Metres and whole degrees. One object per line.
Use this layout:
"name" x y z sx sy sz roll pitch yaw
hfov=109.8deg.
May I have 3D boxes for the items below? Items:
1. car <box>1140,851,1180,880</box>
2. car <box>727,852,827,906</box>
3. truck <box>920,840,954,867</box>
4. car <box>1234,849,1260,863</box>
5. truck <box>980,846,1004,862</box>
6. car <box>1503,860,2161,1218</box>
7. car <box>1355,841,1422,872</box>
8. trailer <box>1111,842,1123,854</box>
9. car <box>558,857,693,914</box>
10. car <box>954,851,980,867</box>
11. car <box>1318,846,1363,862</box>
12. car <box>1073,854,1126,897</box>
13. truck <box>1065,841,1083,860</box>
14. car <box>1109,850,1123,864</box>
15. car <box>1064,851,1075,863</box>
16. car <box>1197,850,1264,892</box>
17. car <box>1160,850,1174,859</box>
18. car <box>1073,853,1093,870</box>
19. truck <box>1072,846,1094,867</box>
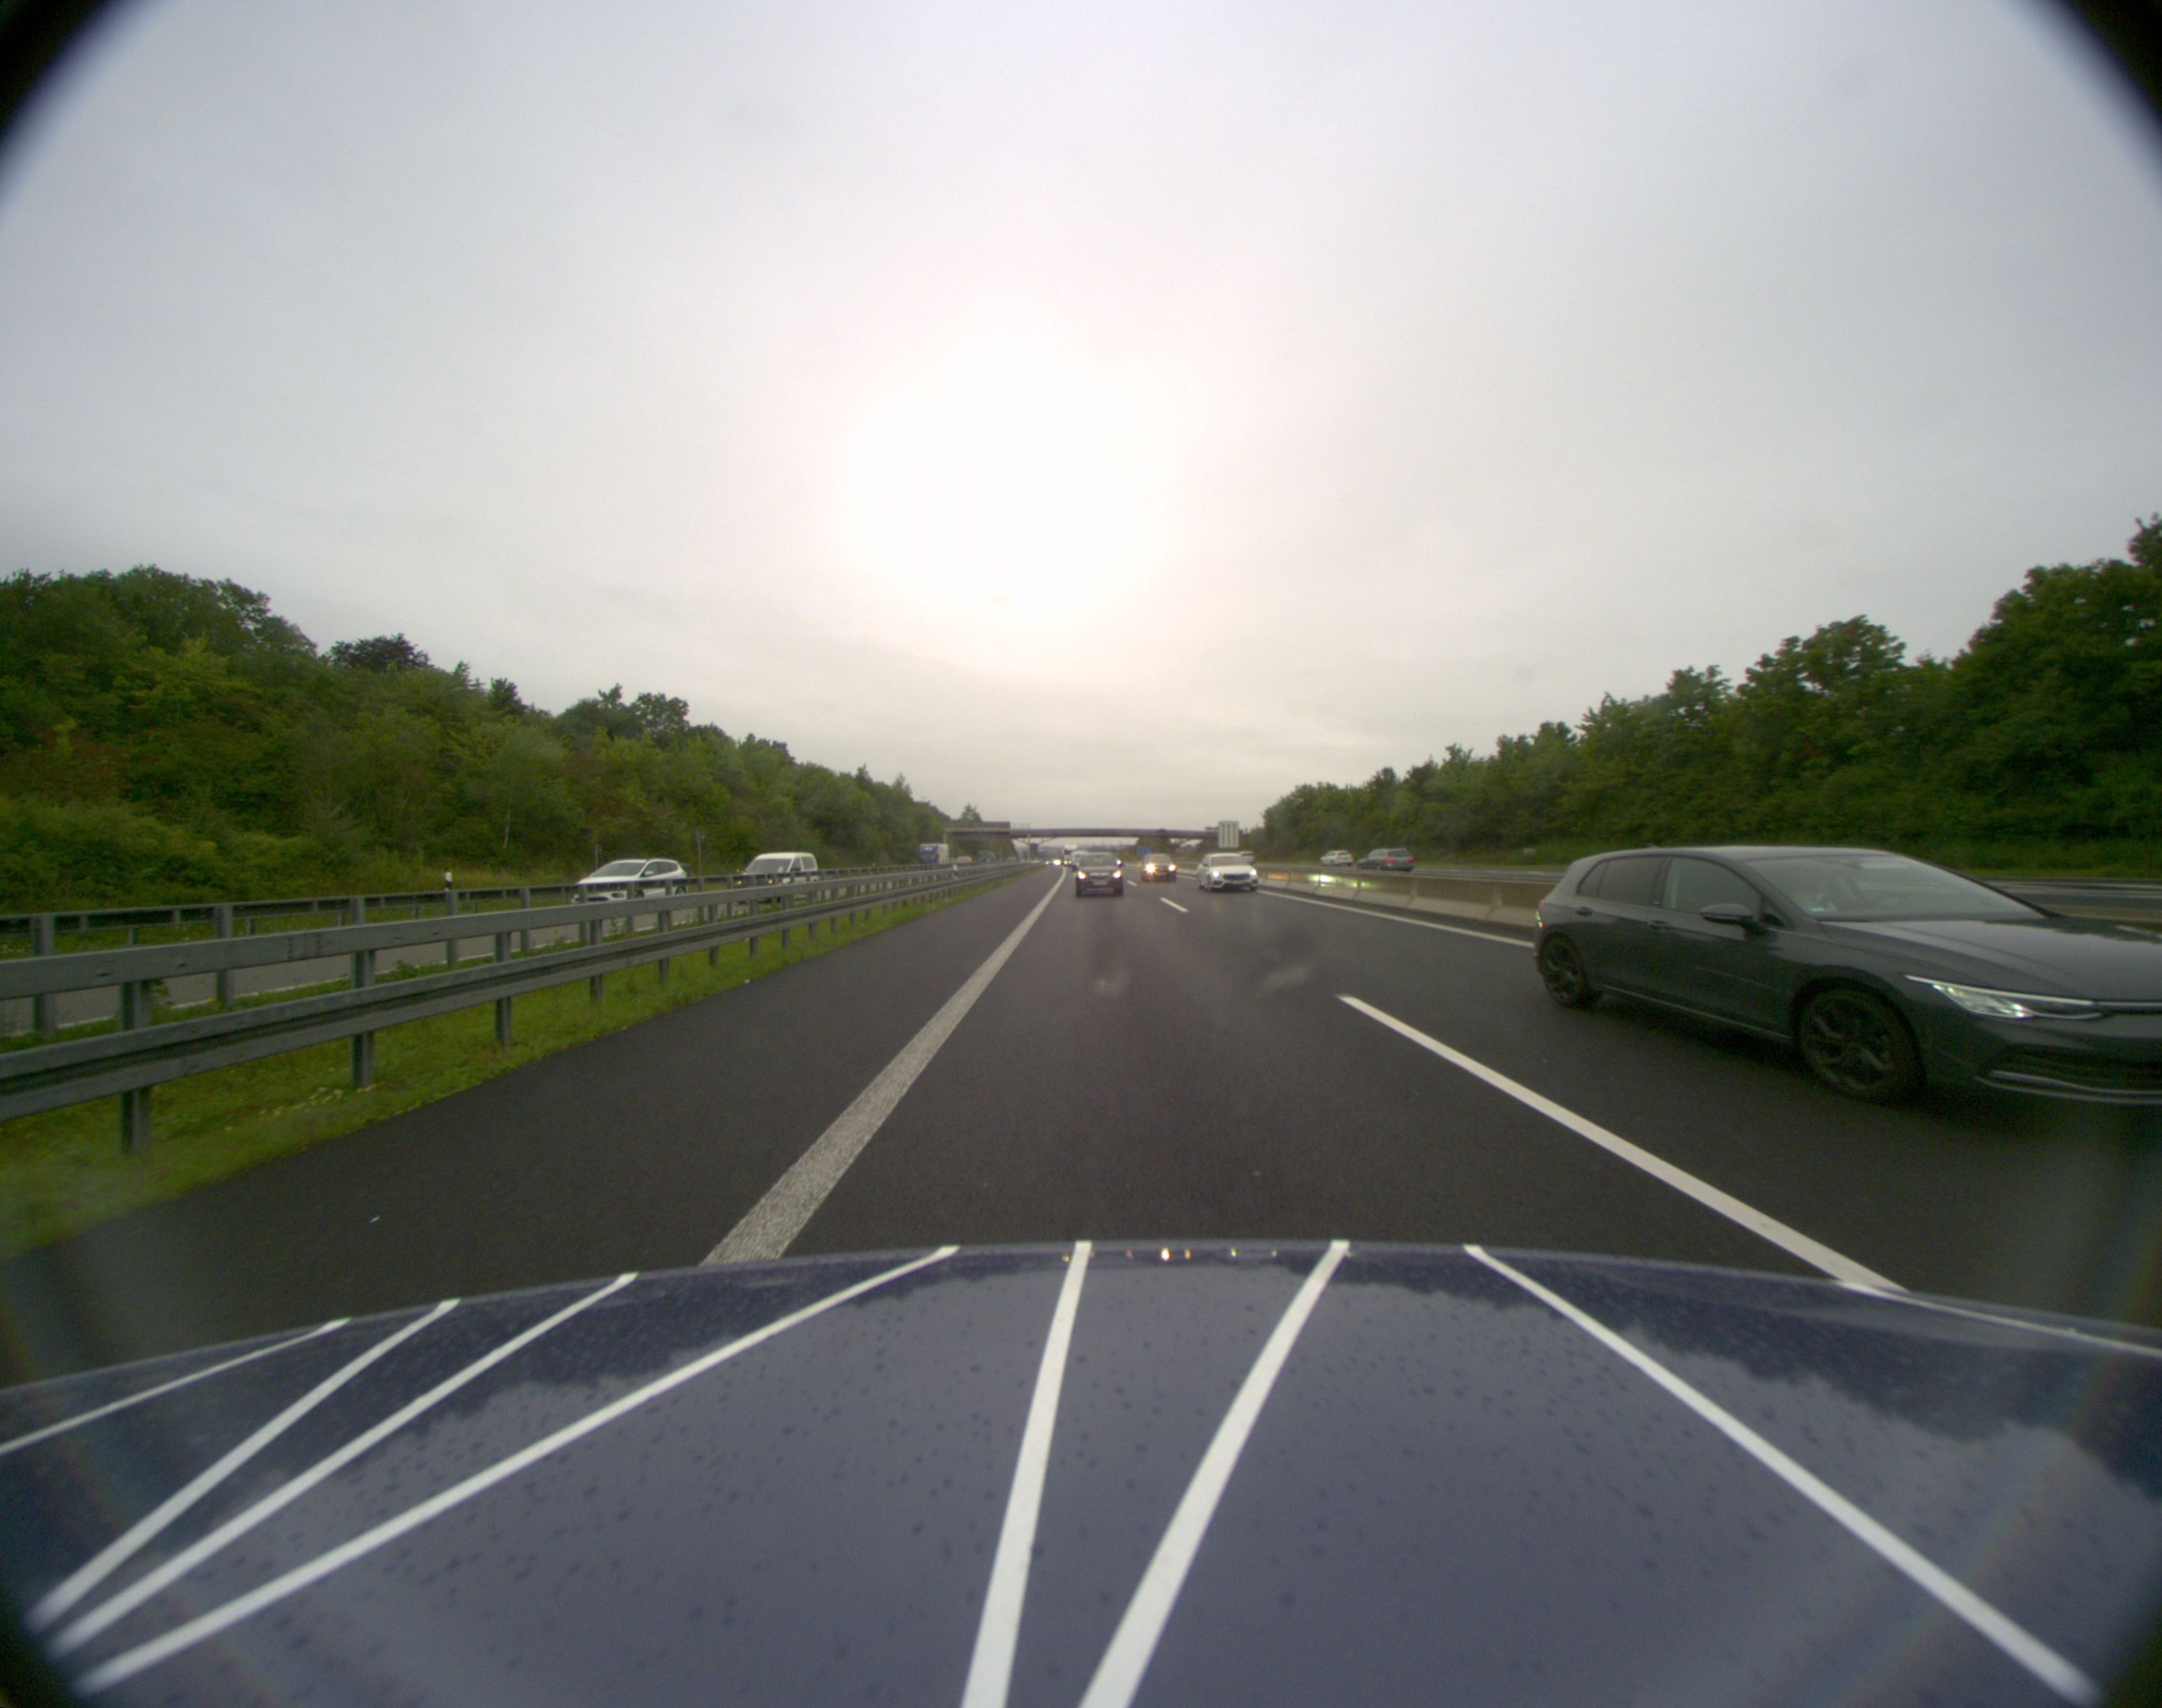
"car" 4.358 0.611 42.475 1.905 1.497 4.114 -1 0 2
"car" -11.197 0.864 28.345 2.013 1.804 4.275 -1 1 0
"truck" -19.363 -0.135 102.826 2.909 3.397 9.281 -2 1 -1
"car" 20.224 0.188 92.649 2.185 1.625 4.537 -1 0 2
"truck" -20.033 -0.153 171.674 2.908 3.397 13.355 -1 0 3
"car" 5.181 0.790 5.388 1.905 1.397 4.459 -1 0 0
"car" 18.305 0.141 45.513 2.185 1.686 5.251 -1 0 4
"trailer" 12.563 -2.244 269.556 3.268 4.059 13.843 -1 0 -1
"car" -14.801 0.960 24.992 1.901 1.603 4.145 -1 1 0
"car" -12.216 0.489 81.871 2.013 1.646 4.472 -1 1 1
"car" 24.277 0.014 71.368 2.187 1.421 4.384 -2 0 -9
"car" 0.732 0.781 29.658 1.905 1.497 4.114 -1 0 2
"truck" -1.222 -0.630 144.851 3.154 3.332 13.099 -2 0 0
"car" 4.606 0.380 100.172 1.715 1.724 3.999 -2 0 0
"car" -1.881 0.464 122.659 1.715 1.724 3.999 -2 0 0
"car" 5.751 0.605 29.764 1.905 1.497 4.114 -1 0 2
"car" 15.297 0.074 135.356 1.987 1.497 4.140 -1 0 0
"car" 0.212 0.762 77.688 1.825 1.669 4.000 -2 1 2
"truck" 0.250 0.311 84.792 2.175 2.214 5.643 -1 0 2
